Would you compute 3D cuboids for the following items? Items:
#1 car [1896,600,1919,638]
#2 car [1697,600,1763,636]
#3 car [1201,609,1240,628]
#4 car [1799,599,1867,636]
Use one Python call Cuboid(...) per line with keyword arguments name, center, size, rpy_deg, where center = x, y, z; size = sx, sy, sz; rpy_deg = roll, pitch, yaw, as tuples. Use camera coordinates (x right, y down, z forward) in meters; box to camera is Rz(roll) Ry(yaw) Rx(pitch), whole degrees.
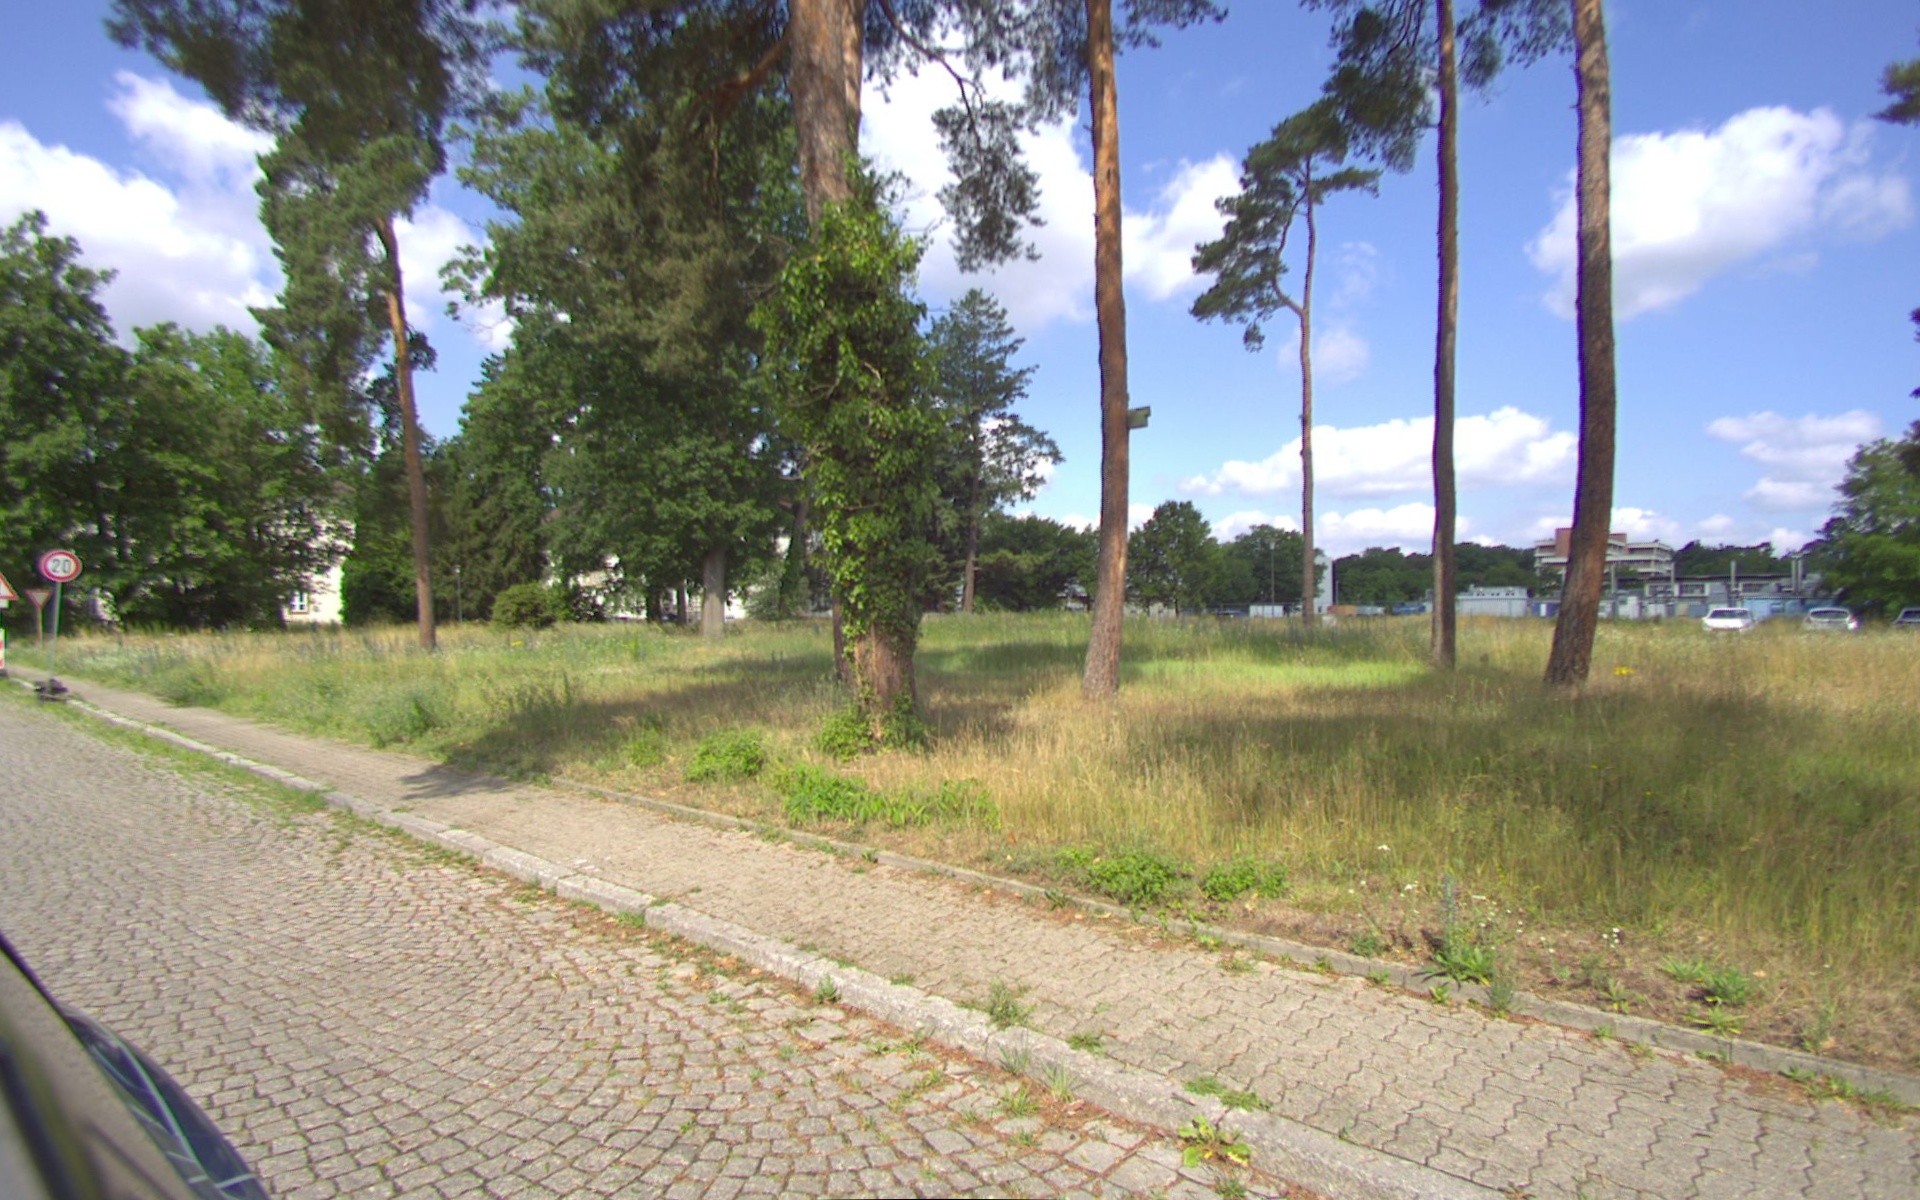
Cuboid(name="car", center=(35.387, 0.670, 36.740), size=(1.900, 1.330, 4.023), rpy_deg=(-1, -2, 41))
Cuboid(name="car", center=(31.295, 0.729, 41.089), size=(1.900, 1.359, 4.015), rpy_deg=(-1, -2, 41))
Cuboid(name="car", center=(23.847, 1.704, 92.592), size=(1.900, 1.715, 4.023), rpy_deg=(-1, -2, 41))
Cuboid(name="car", center=(33.677, 0.687, 39.060), size=(1.900, 1.349, 4.023), rpy_deg=(-1, -2, 41))
